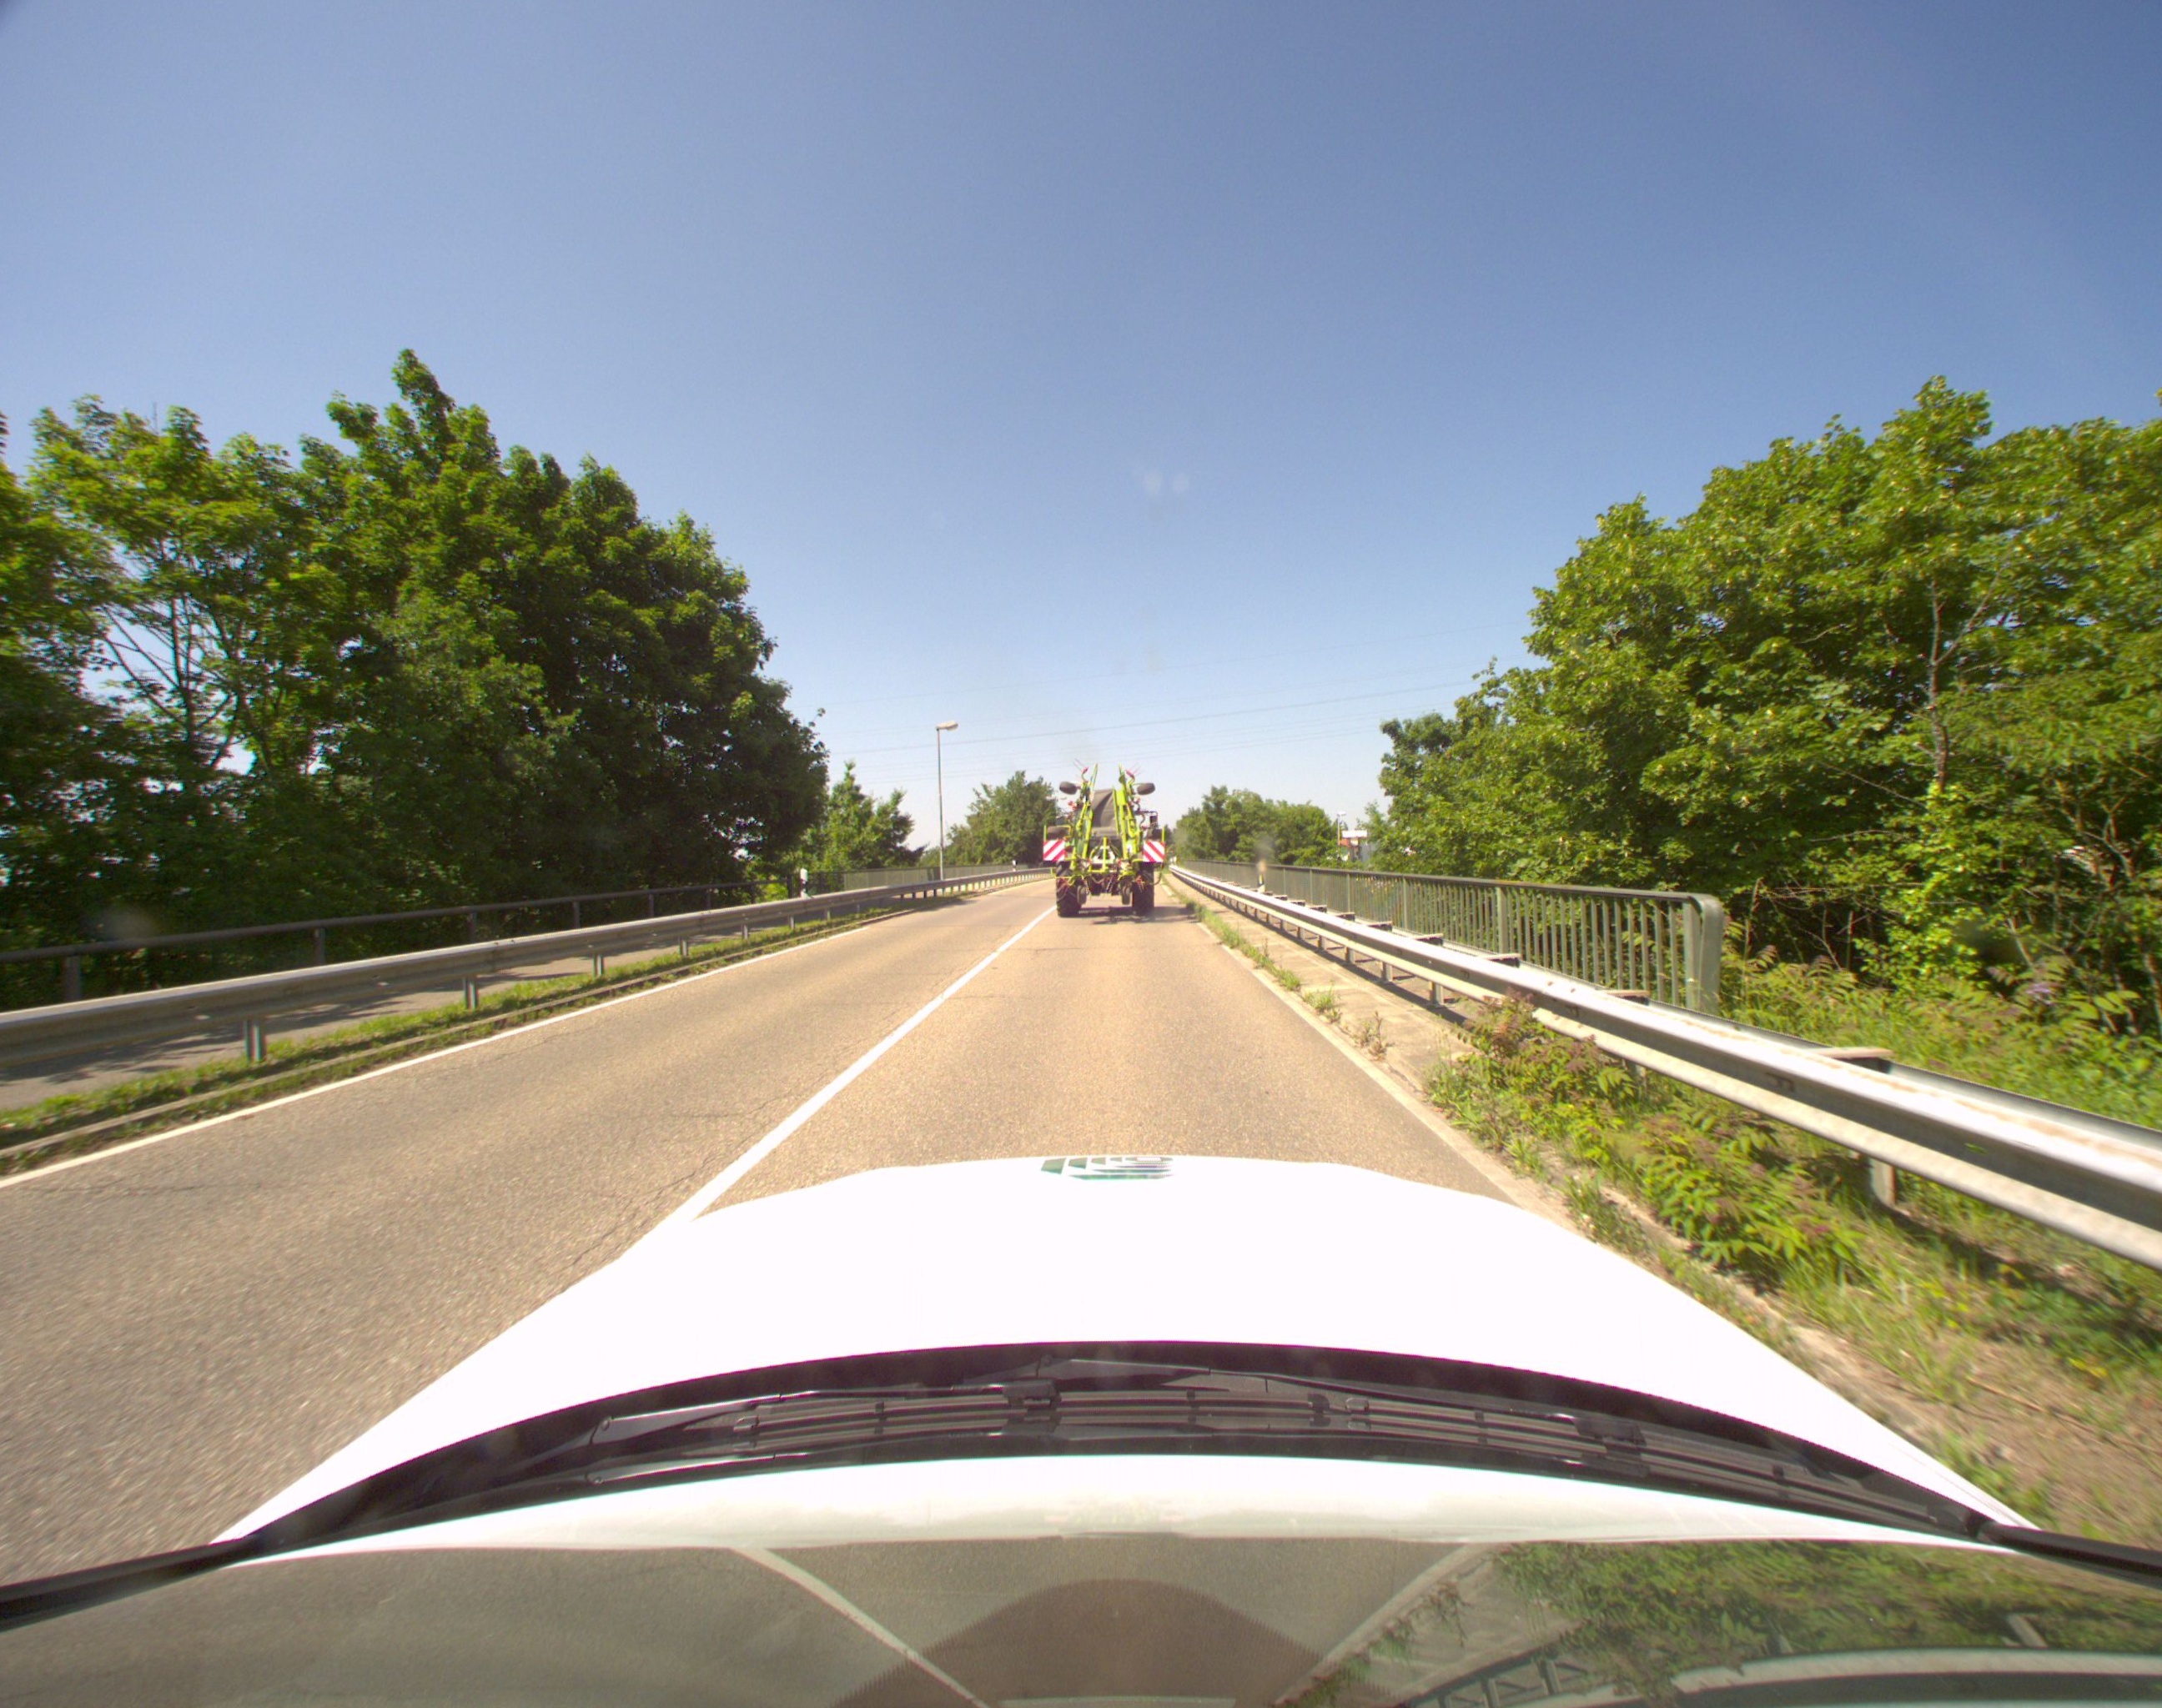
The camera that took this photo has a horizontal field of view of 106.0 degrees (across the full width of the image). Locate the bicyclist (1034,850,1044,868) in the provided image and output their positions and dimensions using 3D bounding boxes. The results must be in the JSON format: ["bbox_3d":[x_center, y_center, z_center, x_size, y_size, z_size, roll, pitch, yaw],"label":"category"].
[{"bbox_3d":[-4.037,0.478,77.956,0.762,1.634,0.896,-3,0,3],"label":"bicyclist"}]

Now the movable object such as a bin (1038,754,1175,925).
[{"bbox_3d":[0.586,-0.319,19.575,2.745,3.444,5.671,-1,0,1],"label":"movable object such as a bin"}]

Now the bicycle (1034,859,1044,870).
[{"bbox_3d":[-4.015,0.974,77.809,0.674,1.001,2.120,-3,0,3],"label":"bicycle"}]
